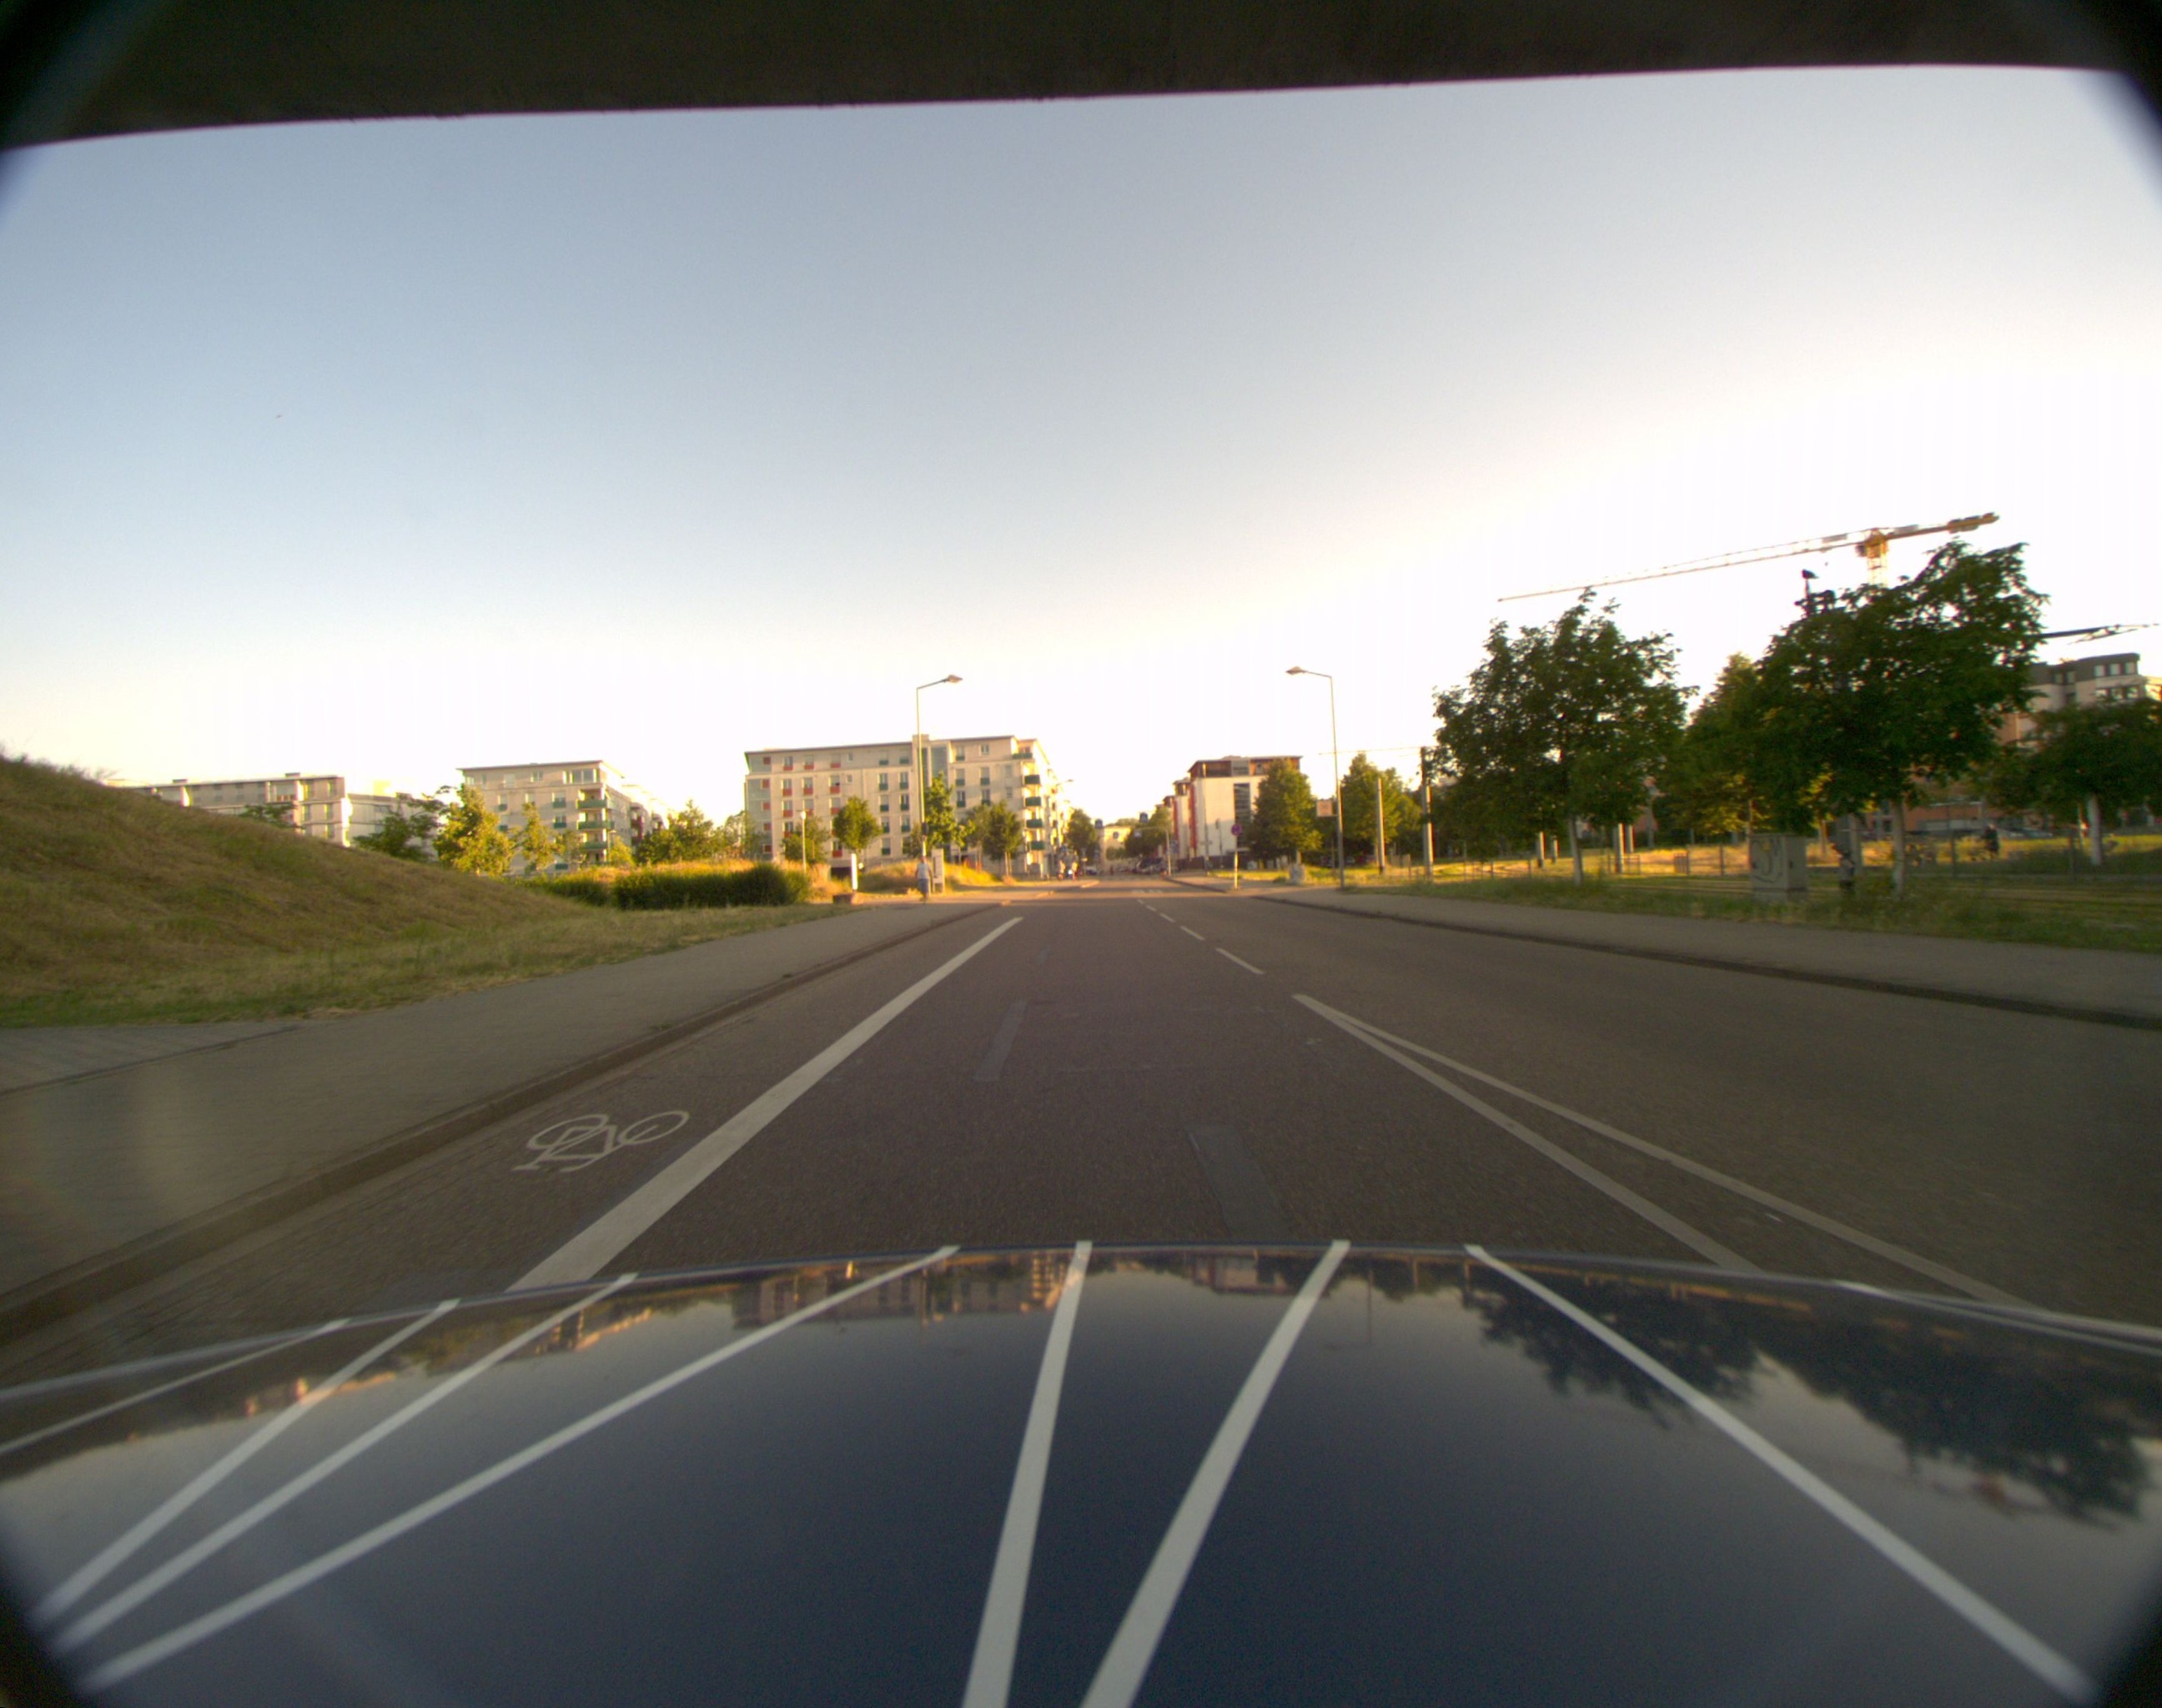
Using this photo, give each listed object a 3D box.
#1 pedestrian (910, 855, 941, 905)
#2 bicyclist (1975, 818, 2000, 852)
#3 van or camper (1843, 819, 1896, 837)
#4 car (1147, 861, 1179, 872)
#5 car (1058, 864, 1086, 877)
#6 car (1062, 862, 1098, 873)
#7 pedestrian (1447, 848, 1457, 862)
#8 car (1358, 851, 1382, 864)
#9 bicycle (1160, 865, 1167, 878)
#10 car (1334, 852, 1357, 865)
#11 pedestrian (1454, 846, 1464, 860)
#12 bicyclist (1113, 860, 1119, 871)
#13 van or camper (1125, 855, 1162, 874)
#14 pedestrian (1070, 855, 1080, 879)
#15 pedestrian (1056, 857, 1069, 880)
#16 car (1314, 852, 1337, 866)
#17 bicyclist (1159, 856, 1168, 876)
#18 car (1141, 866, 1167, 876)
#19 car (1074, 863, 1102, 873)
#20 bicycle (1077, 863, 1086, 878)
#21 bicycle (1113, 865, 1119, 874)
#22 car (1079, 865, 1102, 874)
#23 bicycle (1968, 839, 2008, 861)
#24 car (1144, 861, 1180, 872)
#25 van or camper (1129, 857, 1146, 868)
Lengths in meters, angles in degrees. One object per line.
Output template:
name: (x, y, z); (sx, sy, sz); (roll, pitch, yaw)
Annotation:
pedestrian: (-5.558, 0.912, 27.232); (0.833, 1.756, 0.818); (1, 1, 8)
bicyclist: (40.838, -0.834, 34.222); (0.513, 1.485, 0.424); (-2, -1, 2)
van or camper: (86.326, -2.793, 83.245); (1.832, 1.684, 3.882); (-2, -1, 5)
car: (11.372, 1.748, 105.986); (4.291, 1.449, 1.681); (1, -1, 0)
car: (-0.939, 1.826, 84.043); (1.774, 1.454, 4.185); (0, -1, 20)
car: (-0.099, 1.855, 105.991); (4.885, 1.449, 1.939); (0, -1, 4)
pedestrian: (44.436, 0.147, 90.986); (0.712, 1.590, 0.656); (-4, 0, -4)
car: (33.624, 0.409, 88.466); (1.593, 1.491, 3.412); (-2, 0, 4)
bicycle: (6.961, 1.466, 63.922); (0.539, 1.036, 1.926); (-2, -1, 6)
car: (30.951, 0.506, 88.973); (1.593, 1.491, 3.412); (-2, 0, 4)
pedestrian: (44.896, -0.110, 90.310); (0.743, 1.657, 0.624); (-4, 0, -3)
bicyclist: (5.259, 1.784, 114.141); (0.767, 1.617, 0.663); (-2, -1, 1)
van or camper: (11.239, 1.914, 136.789); (6.314, 3.068, 2.442); (-3, -1, -3)
pedestrian: (-0.440, 1.034, 60.149); (0.595, 1.791, 0.818); (-2, -1, 8)
pedestrian: (-1.447, 1.146, 59.528); (0.801, 1.719, 0.768); (-2, -1, 10)
car: (28.734, 0.594, 89.396); (1.689, 1.513, 3.412); (-2, 0, 4)
bicyclist: (6.938, 0.979, 64.031); (0.616, 1.652, 1.037); (-2, -1, 5)
car: (11.874, 2.753, 123.668); (3.919, 1.506, 1.724); (-3, -1, -2)
car: (1.054, 2.195, 119.225); (4.294, 1.499, 1.686); (0, -1, -1)
bicycle: (0.056, 1.318, 60.084); (0.451, 1.161, 1.942); (-2, -1, 7)
bicycle: (5.279, 2.321, 114.118); (0.771, 1.259, 1.782); (-2, -1, 1)
car: (1.873, 2.915, 143.804); (4.250, 1.527, 1.693); (0, -1, 3)
bicycle: (40.844, -0.177, 34.211); (1.235, 0.894, 0.431); (-2, -1, 1)
car: (11.629, 1.813, 109.063); (4.915, 1.469, 1.711); (0, -1, 0)
van or camper: (14.076, 2.097, 188.916); (4.250, 2.519, 1.761); (0, -1, 3)
